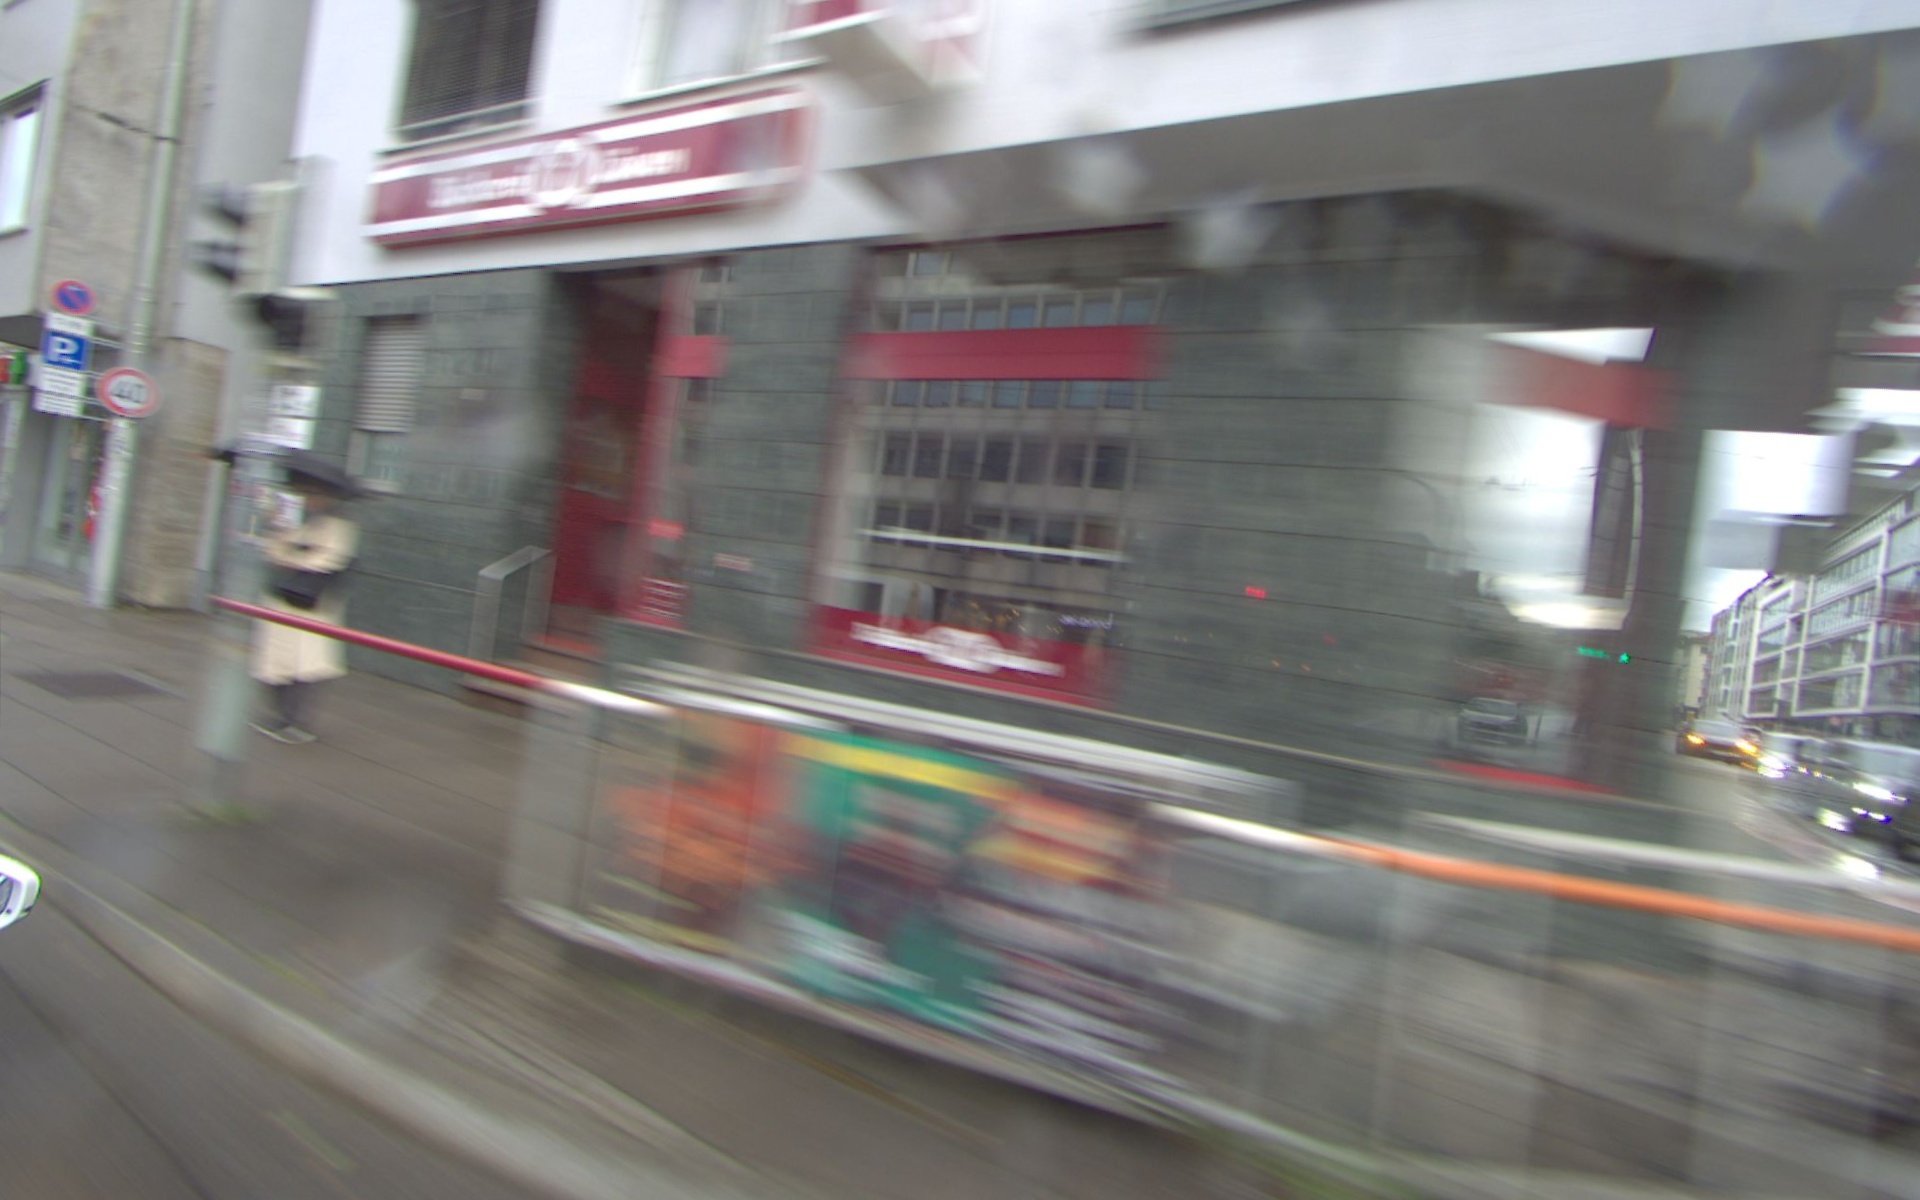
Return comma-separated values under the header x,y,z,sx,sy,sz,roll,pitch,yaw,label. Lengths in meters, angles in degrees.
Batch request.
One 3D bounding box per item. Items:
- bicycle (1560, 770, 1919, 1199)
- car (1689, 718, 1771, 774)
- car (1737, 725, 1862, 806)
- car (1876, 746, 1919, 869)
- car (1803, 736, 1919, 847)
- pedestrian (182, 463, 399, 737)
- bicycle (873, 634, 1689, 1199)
x,y,z,sx,sy,sz,roll,pitch,yaw,label
2.870,1.232,2.854,1.922,1.170,0.578,8,-1,-5,bicycle
28.612,5.370,37.514,1.748,1.659,4.086,7,-2,30,car
22.337,4.333,26.929,1.748,1.659,4.086,7,-2,30,car
14.382,3.050,13.695,1.849,1.659,4.086,7,-2,30,car
17.607,3.603,18.998,1.748,1.659,4.086,7,-2,30,car
-4.309,0.007,6.520,0.765,1.601,0.662,7,0,10,pedestrian
0.821,0.872,2.870,1.919,1.273,0.499,8,-1,7,bicycle
